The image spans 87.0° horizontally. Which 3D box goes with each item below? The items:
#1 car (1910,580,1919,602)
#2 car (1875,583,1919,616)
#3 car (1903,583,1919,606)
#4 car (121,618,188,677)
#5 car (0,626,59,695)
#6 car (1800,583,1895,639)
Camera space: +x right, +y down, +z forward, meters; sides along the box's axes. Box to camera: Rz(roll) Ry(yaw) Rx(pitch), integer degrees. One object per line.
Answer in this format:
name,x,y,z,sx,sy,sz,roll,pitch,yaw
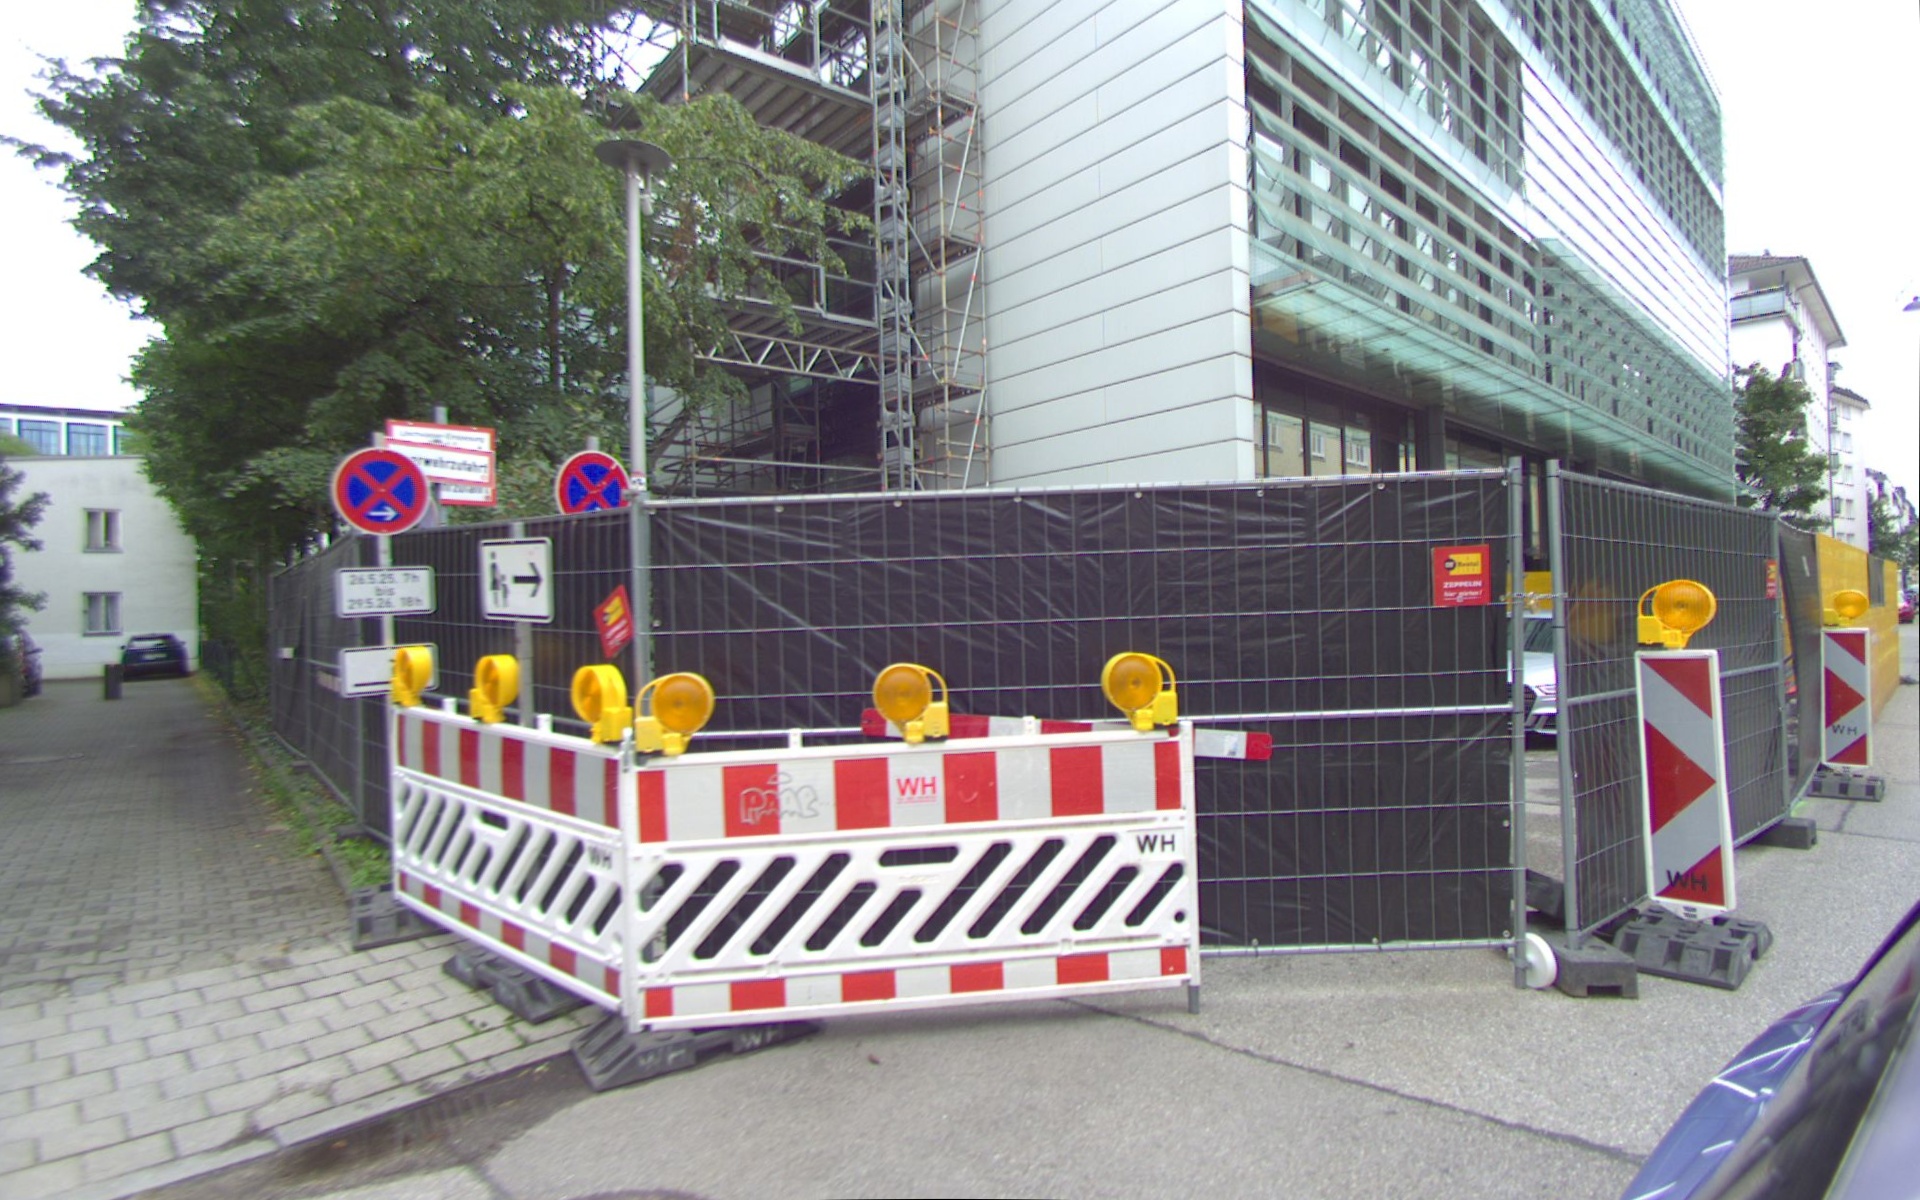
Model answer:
car,71.595,-0.693,74.833,3.935,1.579,1.789,-1,-1,-45
car,44.131,-0.043,47.283,3.935,1.416,1.805,-1,-1,-45
car,56.107,-0.365,58.897,1.621,1.282,4.259,-3,-1,45
car,-27.498,1.625,34.582,1.701,1.854,3.995,-1,-2,-38
car,-23.221,1.494,24.742,1.530,1.564,3.771,-1,-2,-38
car,25.754,0.301,29.326,1.871,1.504,4.211,-3,-1,44
